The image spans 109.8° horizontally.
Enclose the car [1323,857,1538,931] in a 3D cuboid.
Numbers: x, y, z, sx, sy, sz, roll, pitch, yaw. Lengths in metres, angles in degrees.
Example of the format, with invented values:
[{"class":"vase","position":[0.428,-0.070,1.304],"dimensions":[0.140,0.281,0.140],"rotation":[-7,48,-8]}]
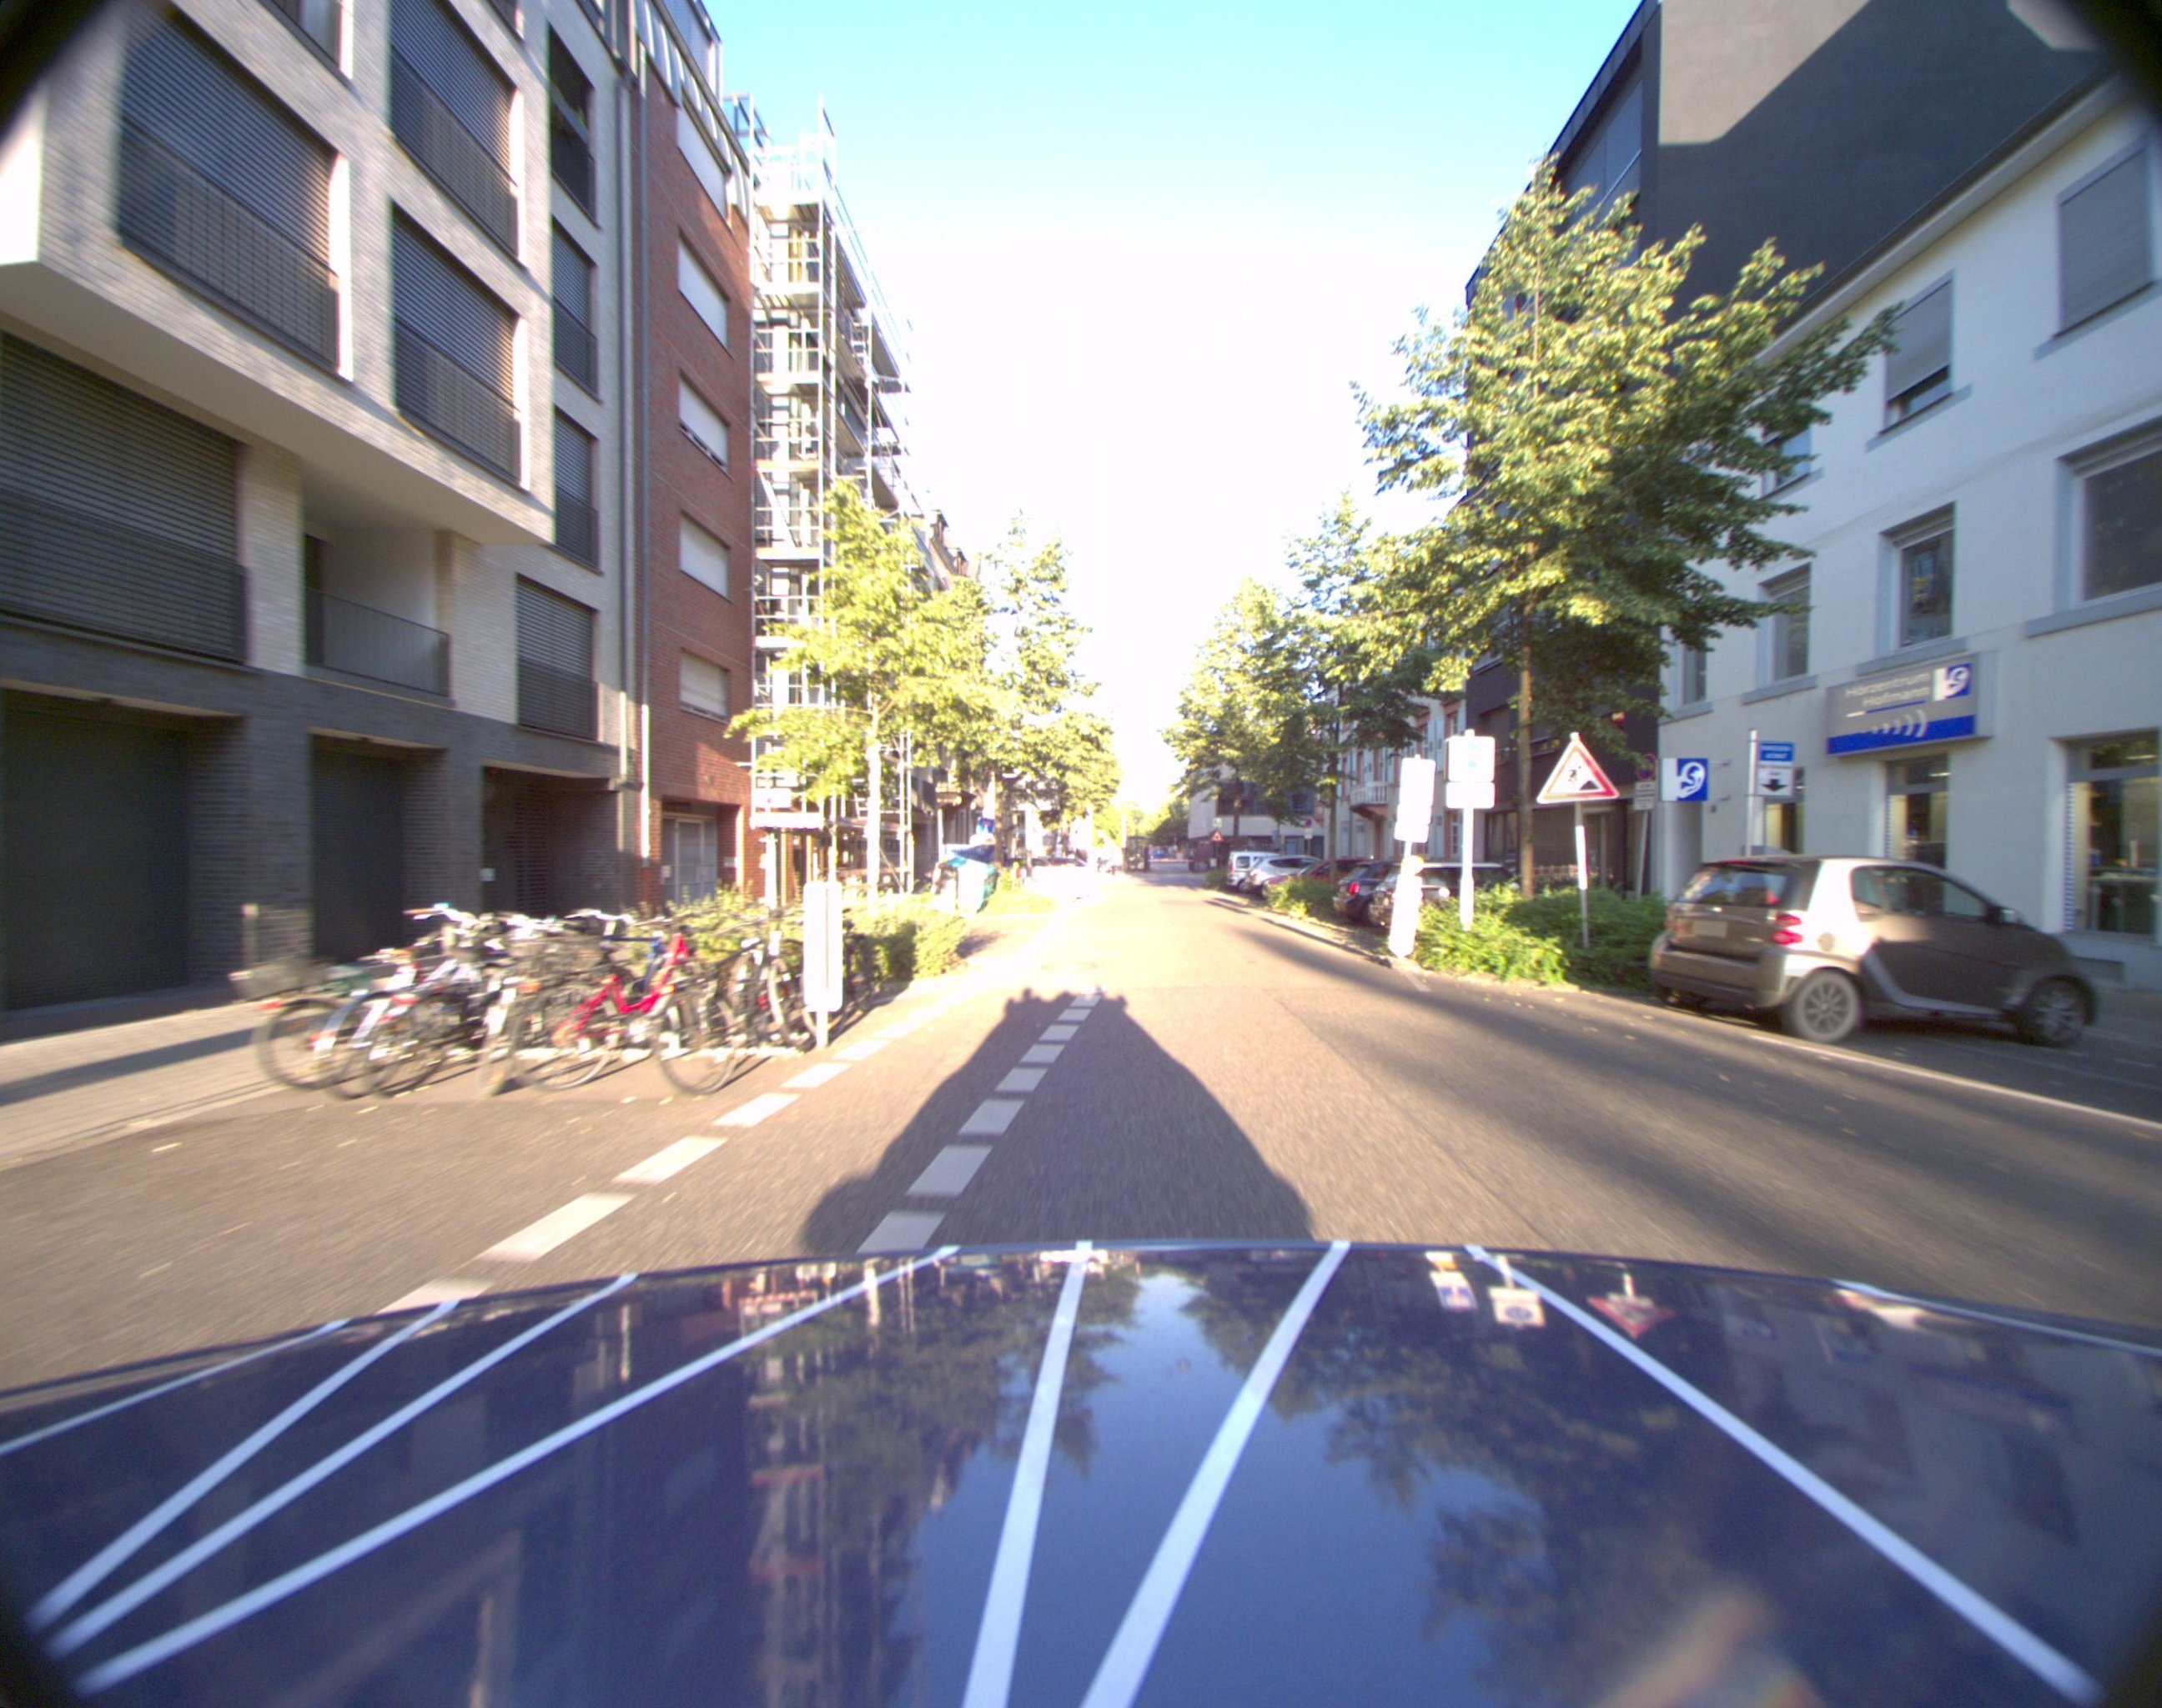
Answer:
[{"class":"car","position":[7.563,0.846,16.751],"dimensions":[3.902,1.508,1.857],"rotation":[-1,0,4]}]

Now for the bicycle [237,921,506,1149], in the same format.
[{"class":"bicycle","position":[-4.723,1.127,5.202],"dimensions":[0.383,1.182,1.523],"rotation":[-1,1,0]}]

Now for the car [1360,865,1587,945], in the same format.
[{"class":"car","position":[7.221,0.922,14.254],"dimensions":[3.403,1.384,1.687],"rotation":[-1,0,6]}]

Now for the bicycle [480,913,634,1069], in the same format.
[{"class":"bicycle","position":[-4.548,1.132,6.707],"dimensions":[0.383,1.094,1.522],"rotation":[0,1,-4]}]

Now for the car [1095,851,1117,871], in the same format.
[{"class":"car","position":[2.153,0.538,64.313],"dimensions":[1.709,1.575,3.680],"rotation":[0,1,4]}]

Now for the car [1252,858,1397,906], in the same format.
[{"class":"car","position":[7.920,0.890,24.965],"dimensions":[4.218,1.507,1.762],"rotation":[0,1,0]}]

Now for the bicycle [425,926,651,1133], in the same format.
[{"class":"bicycle","position":[-3.739,1.140,5.397],"dimensions":[0.382,1.094,1.565],"rotation":[0,0,4]}]

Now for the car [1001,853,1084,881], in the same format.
[{"class":"car","position":[-2.148,0.724,43.436],"dimensions":[4.536,1.502,1.912],"rotation":[1,0,3]}]

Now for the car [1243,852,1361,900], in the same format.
[{"class":"car","position":[7.886,0.781,27.446],"dimensions":[3.833,1.576,1.742],"rotation":[-1,1,6]}]

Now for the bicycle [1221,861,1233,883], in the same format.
[{"class":"bicycle","position":[7.794,0.959,40.580],"dimensions":[0.396,1.102,1.713],"rotation":[-2,1,6]}]

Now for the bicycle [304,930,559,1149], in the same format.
[{"class":"bicycle","position":[-4.258,1.147,5.133],"dimensions":[0.383,1.094,1.523],"rotation":[-1,1,0]}]

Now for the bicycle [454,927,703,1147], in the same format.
[{"class":"bicycle","position":[-3.266,1.119,5.108],"dimensions":[0.371,1.101,1.525],"rotation":[0,1,15]}]

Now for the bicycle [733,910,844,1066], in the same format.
[{"class":"bicycle","position":[-2.519,1.103,6.691],"dimensions":[0.383,1.094,1.523],"rotation":[0,0,0]}]

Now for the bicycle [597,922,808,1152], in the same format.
[{"class":"bicycle","position":[-2.424,1.104,5.074],"dimensions":[0.363,1.134,1.566],"rotation":[0,1,11]}]

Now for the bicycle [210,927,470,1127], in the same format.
[{"class":"bicycle","position":[-5.252,1.158,5.521],"dimensions":[0.383,1.094,1.523],"rotation":[0,1,0]}]

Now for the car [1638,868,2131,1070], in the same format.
[{"class":"car","position":[6.913,0.921,6.776],"dimensions":[2.701,1.511,1.572],"rotation":[2,0,0]}]

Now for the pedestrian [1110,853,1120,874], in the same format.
[{"class":"pedestrian","position":[2.551,0.716,56.771],"dimensions":[0.672,1.585,0.469],"rotation":[0,1,8]}]

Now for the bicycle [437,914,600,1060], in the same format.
[{"class":"bicycle","position":[-5.154,1.166,7.073],"dimensions":[0.383,1.094,1.523],"rotation":[0,0,0]}]

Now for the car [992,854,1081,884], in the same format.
[{"class":"car","position":[-2.372,0.787,41.030],"dimensions":[4.535,1.470,1.868],"rotation":[1,1,6]}]

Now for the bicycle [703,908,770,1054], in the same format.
[{"class":"bicycle","position":[-3.170,1.104,7.064],"dimensions":[0.383,1.094,1.520],"rotation":[0,1,-18]}]

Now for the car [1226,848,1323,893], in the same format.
[{"class":"car","position":[8.216,0.677,32.508],"dimensions":[3.818,1.839,1.701],"rotation":[0,1,7]}]

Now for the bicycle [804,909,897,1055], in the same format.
[{"class":"bicycle","position":[-2.087,1.113,7.029],"dimensions":[0.383,1.094,1.523],"rotation":[0,0,0]}]
